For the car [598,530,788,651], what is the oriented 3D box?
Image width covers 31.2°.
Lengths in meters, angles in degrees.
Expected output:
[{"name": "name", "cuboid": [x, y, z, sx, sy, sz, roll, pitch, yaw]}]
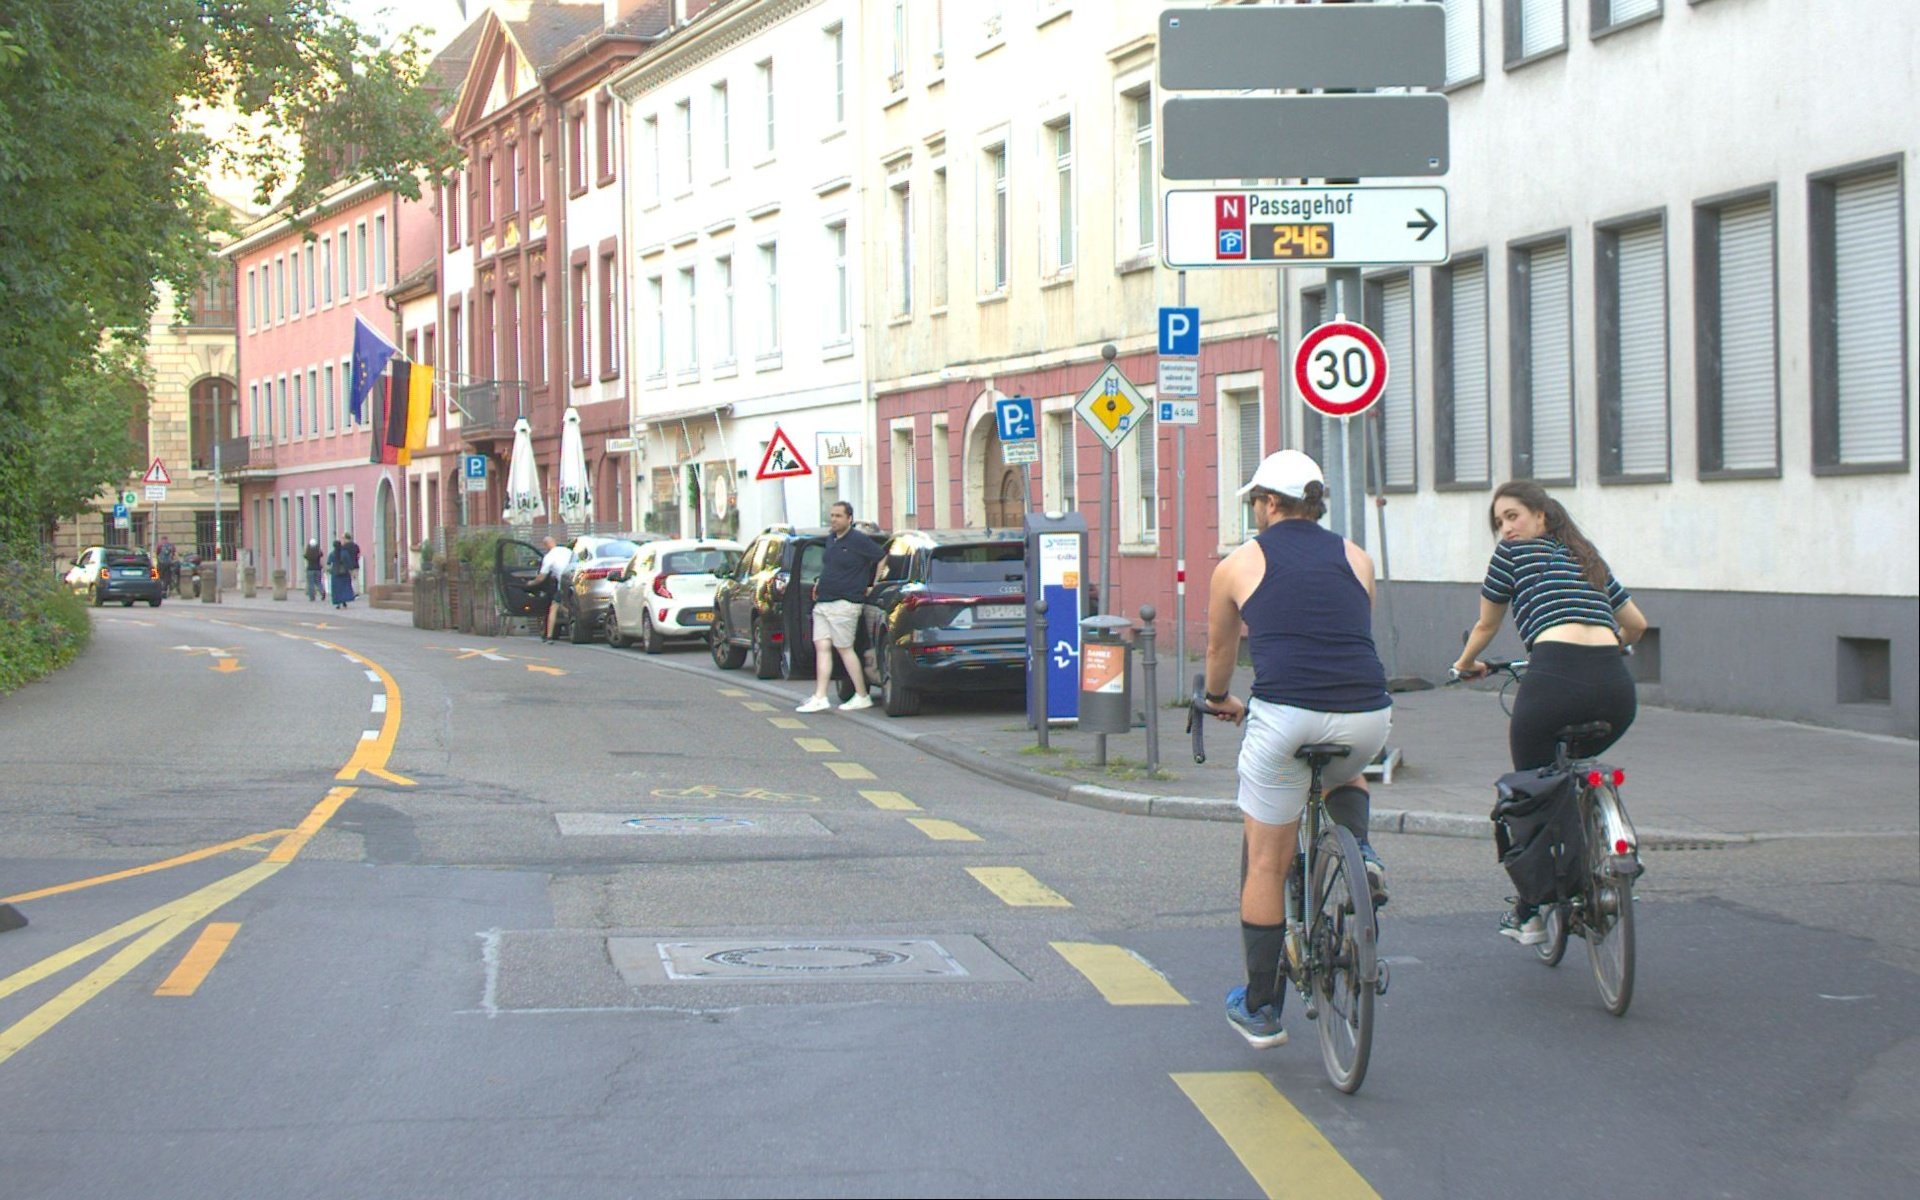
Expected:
[{"name": "car", "cuboid": [-3.678, -0.167, 46.789, 1.812, 1.554, 3.866, -1, 1, -16]}]

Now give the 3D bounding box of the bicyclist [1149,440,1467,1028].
[{"name": "bicyclist", "cuboid": [0.951, 0.355, 9.528, 0.668, 1.560, 0.699, 1, 1, -11]}]

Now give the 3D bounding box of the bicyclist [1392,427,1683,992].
[{"name": "bicyclist", "cuboid": [1.855, 0.335, 11.136, 0.649, 1.754, 0.864, 1, 1, -9]}]

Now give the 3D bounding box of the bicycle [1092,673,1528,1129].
[{"name": "bicycle", "cuboid": [0.923, 0.778, 9.617, 0.669, 1.067, 1.902, 0, 1, -11]}]

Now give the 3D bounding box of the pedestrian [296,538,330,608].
[{"name": "pedestrian", "cuboid": [-16.421, -0.698, 87.243, 0.750, 1.756, 0.586, -1, 1, -18]}]

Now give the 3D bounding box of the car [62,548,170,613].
[{"name": "car", "cuboid": [-21.071, -0.503, 85.702, 1.812, 1.554, 3.865, -1, 1, -26]}]

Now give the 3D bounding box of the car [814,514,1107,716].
[{"name": "car", "cuboid": [-0.068, 0.083, 30.847, 1.812, 1.676, 3.921, -1, 1, -13]}]

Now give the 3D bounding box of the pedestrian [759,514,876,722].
[{"name": "pedestrian", "cuboid": [-1.301, 0.151, 31.300, 0.900, 1.859, 0.932, -1, 1, -12]}]

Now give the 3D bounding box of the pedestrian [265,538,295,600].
[{"name": "pedestrian", "cuboid": [-17.433, -0.804, 88.180, 0.667, 1.576, 0.586, -1, 1, -18]}]

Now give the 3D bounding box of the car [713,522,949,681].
[{"name": "car", "cuboid": [-1.512, -0.021, 38.750, 1.812, 1.678, 4.001, -1, 1, -15]}]

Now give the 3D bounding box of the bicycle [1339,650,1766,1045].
[{"name": "bicycle", "cuboid": [1.855, 0.742, 11.150, 0.652, 1.067, 2.259, 1, 1, -9]}]

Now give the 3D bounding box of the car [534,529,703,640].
[{"name": "car", "cuboid": [-5.100, -0.262, 50.969, 1.812, 1.554, 3.866, -1, 1, -16]}]

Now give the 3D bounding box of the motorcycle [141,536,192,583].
[{"name": "motorcycle", "cuboid": [-21.670, -1.120, 93.860, 1.041, 1.244, 2.399, -1, 1, -20]}]

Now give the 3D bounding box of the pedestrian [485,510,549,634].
[{"name": "pedestrian", "cuboid": [-6.637, -0.424, 51.535, 0.831, 1.838, 0.958, 0, 2, 0]}]
